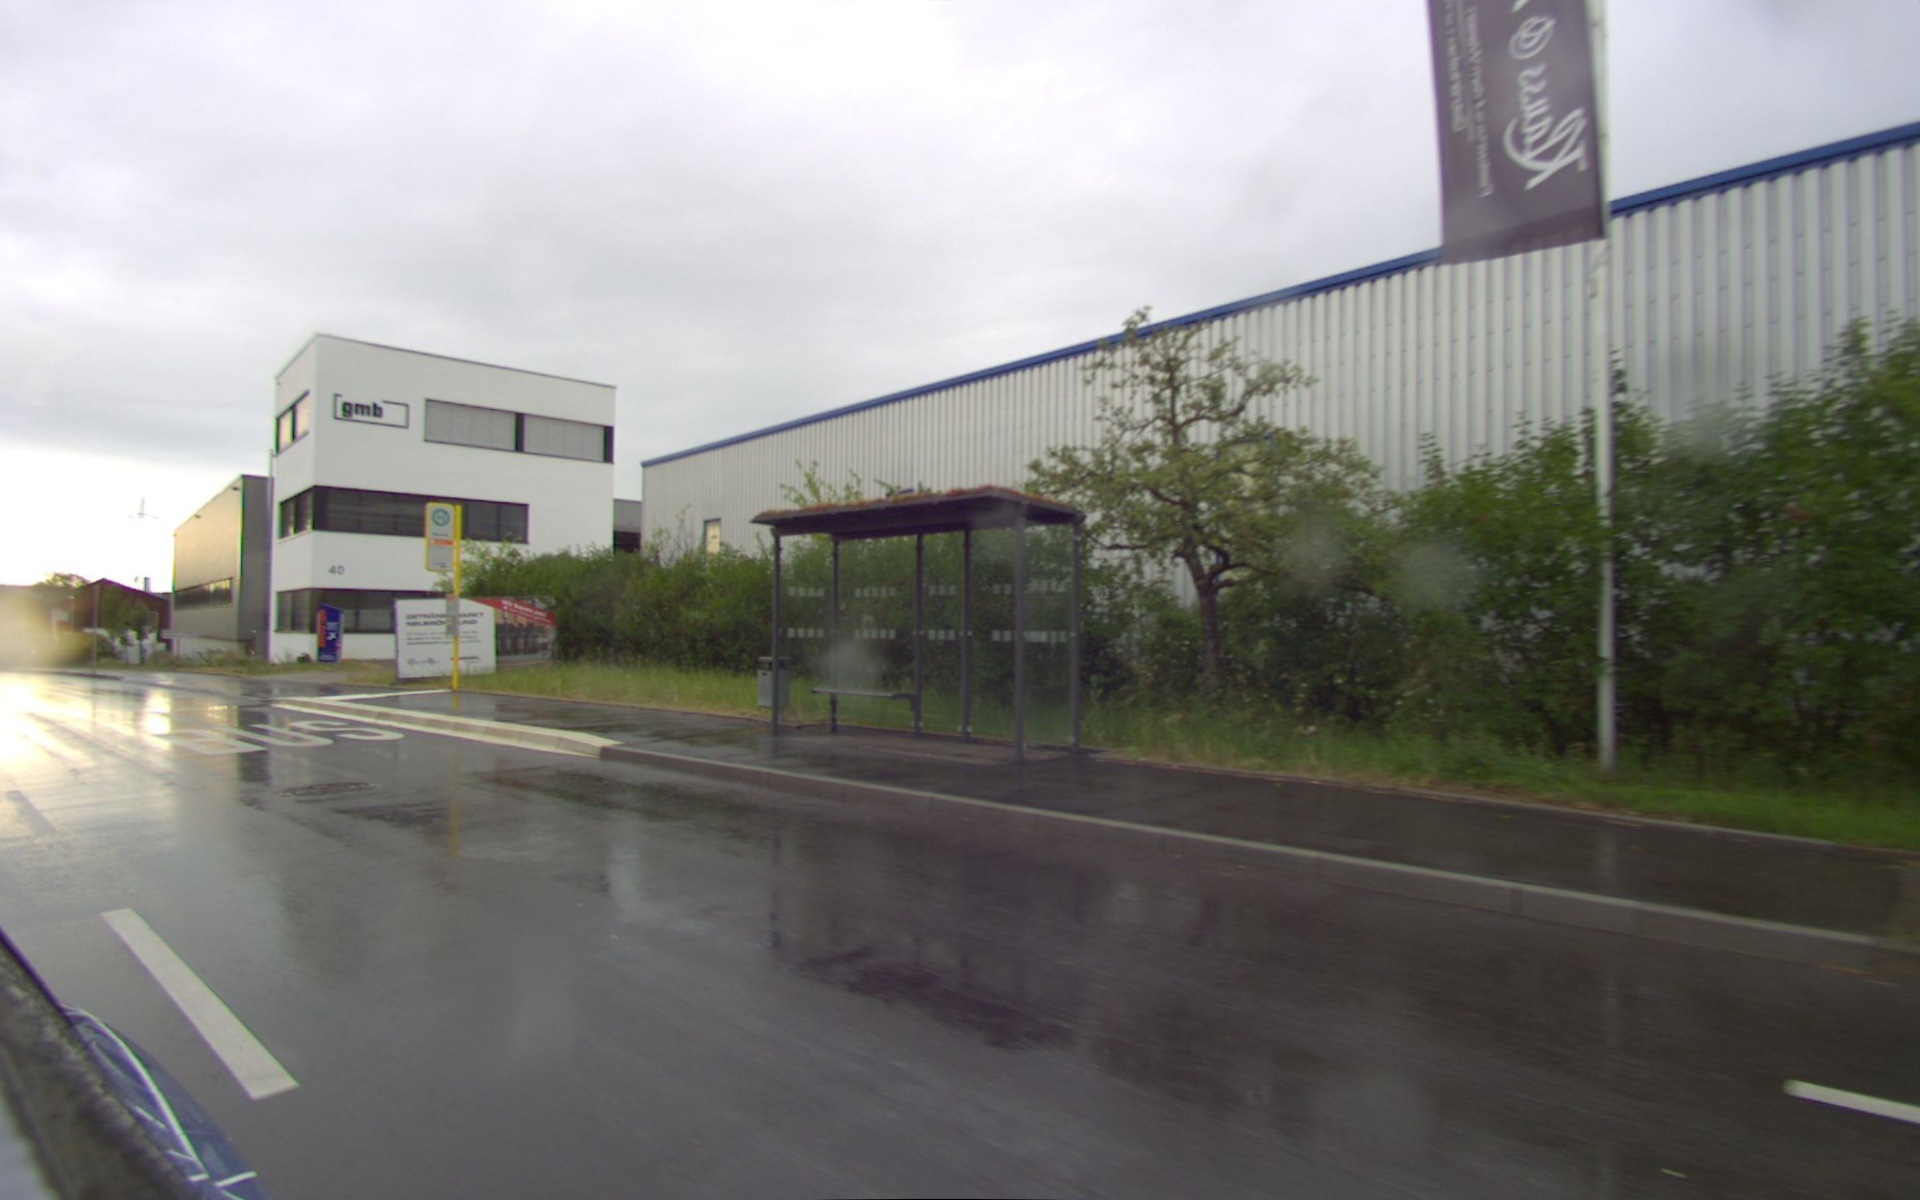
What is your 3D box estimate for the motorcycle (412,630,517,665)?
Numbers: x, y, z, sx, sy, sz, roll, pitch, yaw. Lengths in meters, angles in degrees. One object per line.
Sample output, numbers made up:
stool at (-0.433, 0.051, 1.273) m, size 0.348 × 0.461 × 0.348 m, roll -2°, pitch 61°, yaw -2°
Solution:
motorcycle at (-19.386, 1.846, 39.664) m, size 3.640 × 1.254 × 0.778 m, roll 0°, pitch -2°, yaw -42°
